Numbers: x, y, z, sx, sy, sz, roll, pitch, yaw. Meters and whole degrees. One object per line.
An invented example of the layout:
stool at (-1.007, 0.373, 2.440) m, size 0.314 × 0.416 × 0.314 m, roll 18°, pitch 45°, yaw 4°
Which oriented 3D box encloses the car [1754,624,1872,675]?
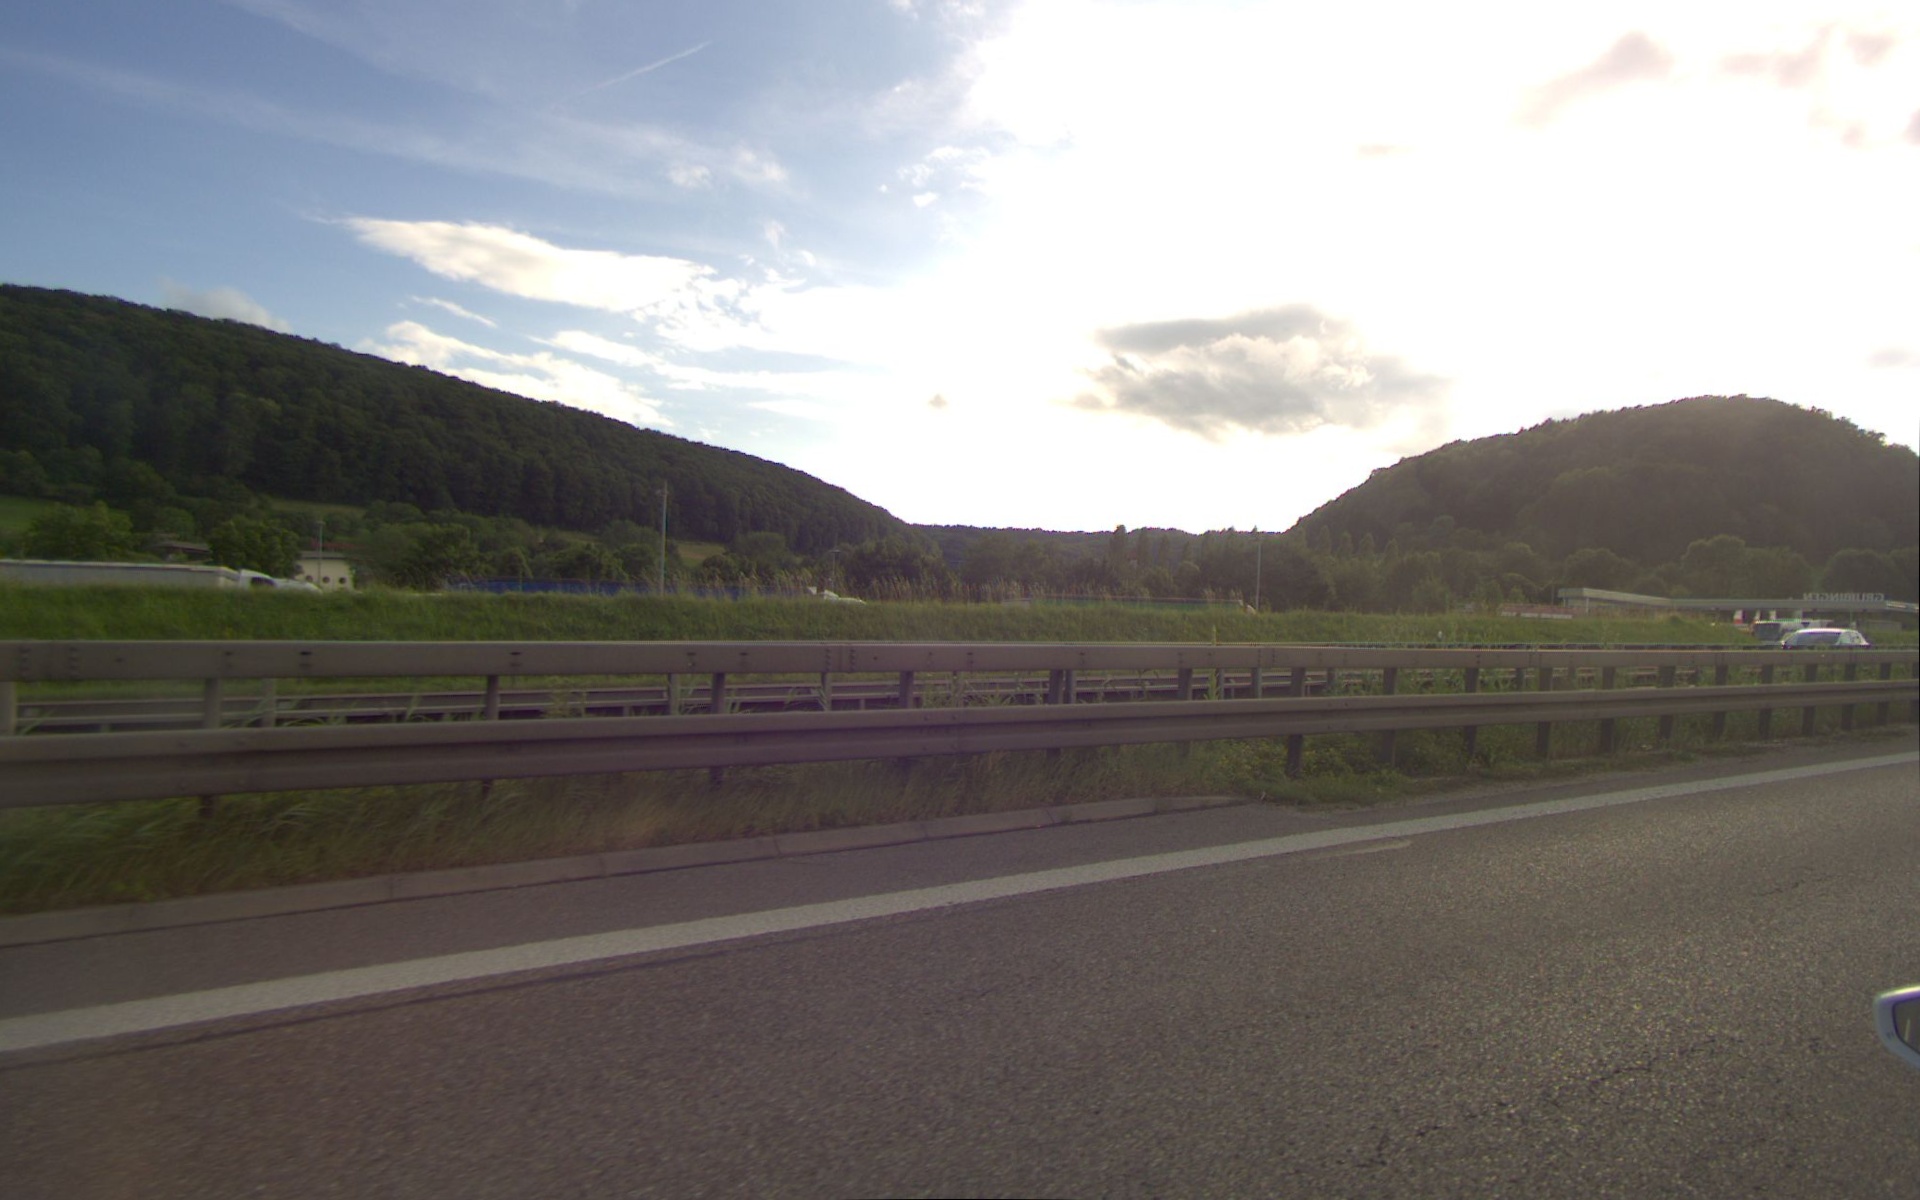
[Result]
car at (29.996, 1.740, 35.300) m, size 3.954 × 1.644 × 1.984 m, roll 3°, pitch -2°, yaw -31°

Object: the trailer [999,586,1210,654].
trailer at (7.407, 1.103, 50.281) m, size 11.244 × 2.890 × 2.568 m, roll 3°, pitch -2°, yaw -29°

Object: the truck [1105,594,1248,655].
truck at (11.359, 1.320, 52.485) m, size 7.443 × 2.891 × 2.568 m, roll 3°, pitch -2°, yaw -29°
